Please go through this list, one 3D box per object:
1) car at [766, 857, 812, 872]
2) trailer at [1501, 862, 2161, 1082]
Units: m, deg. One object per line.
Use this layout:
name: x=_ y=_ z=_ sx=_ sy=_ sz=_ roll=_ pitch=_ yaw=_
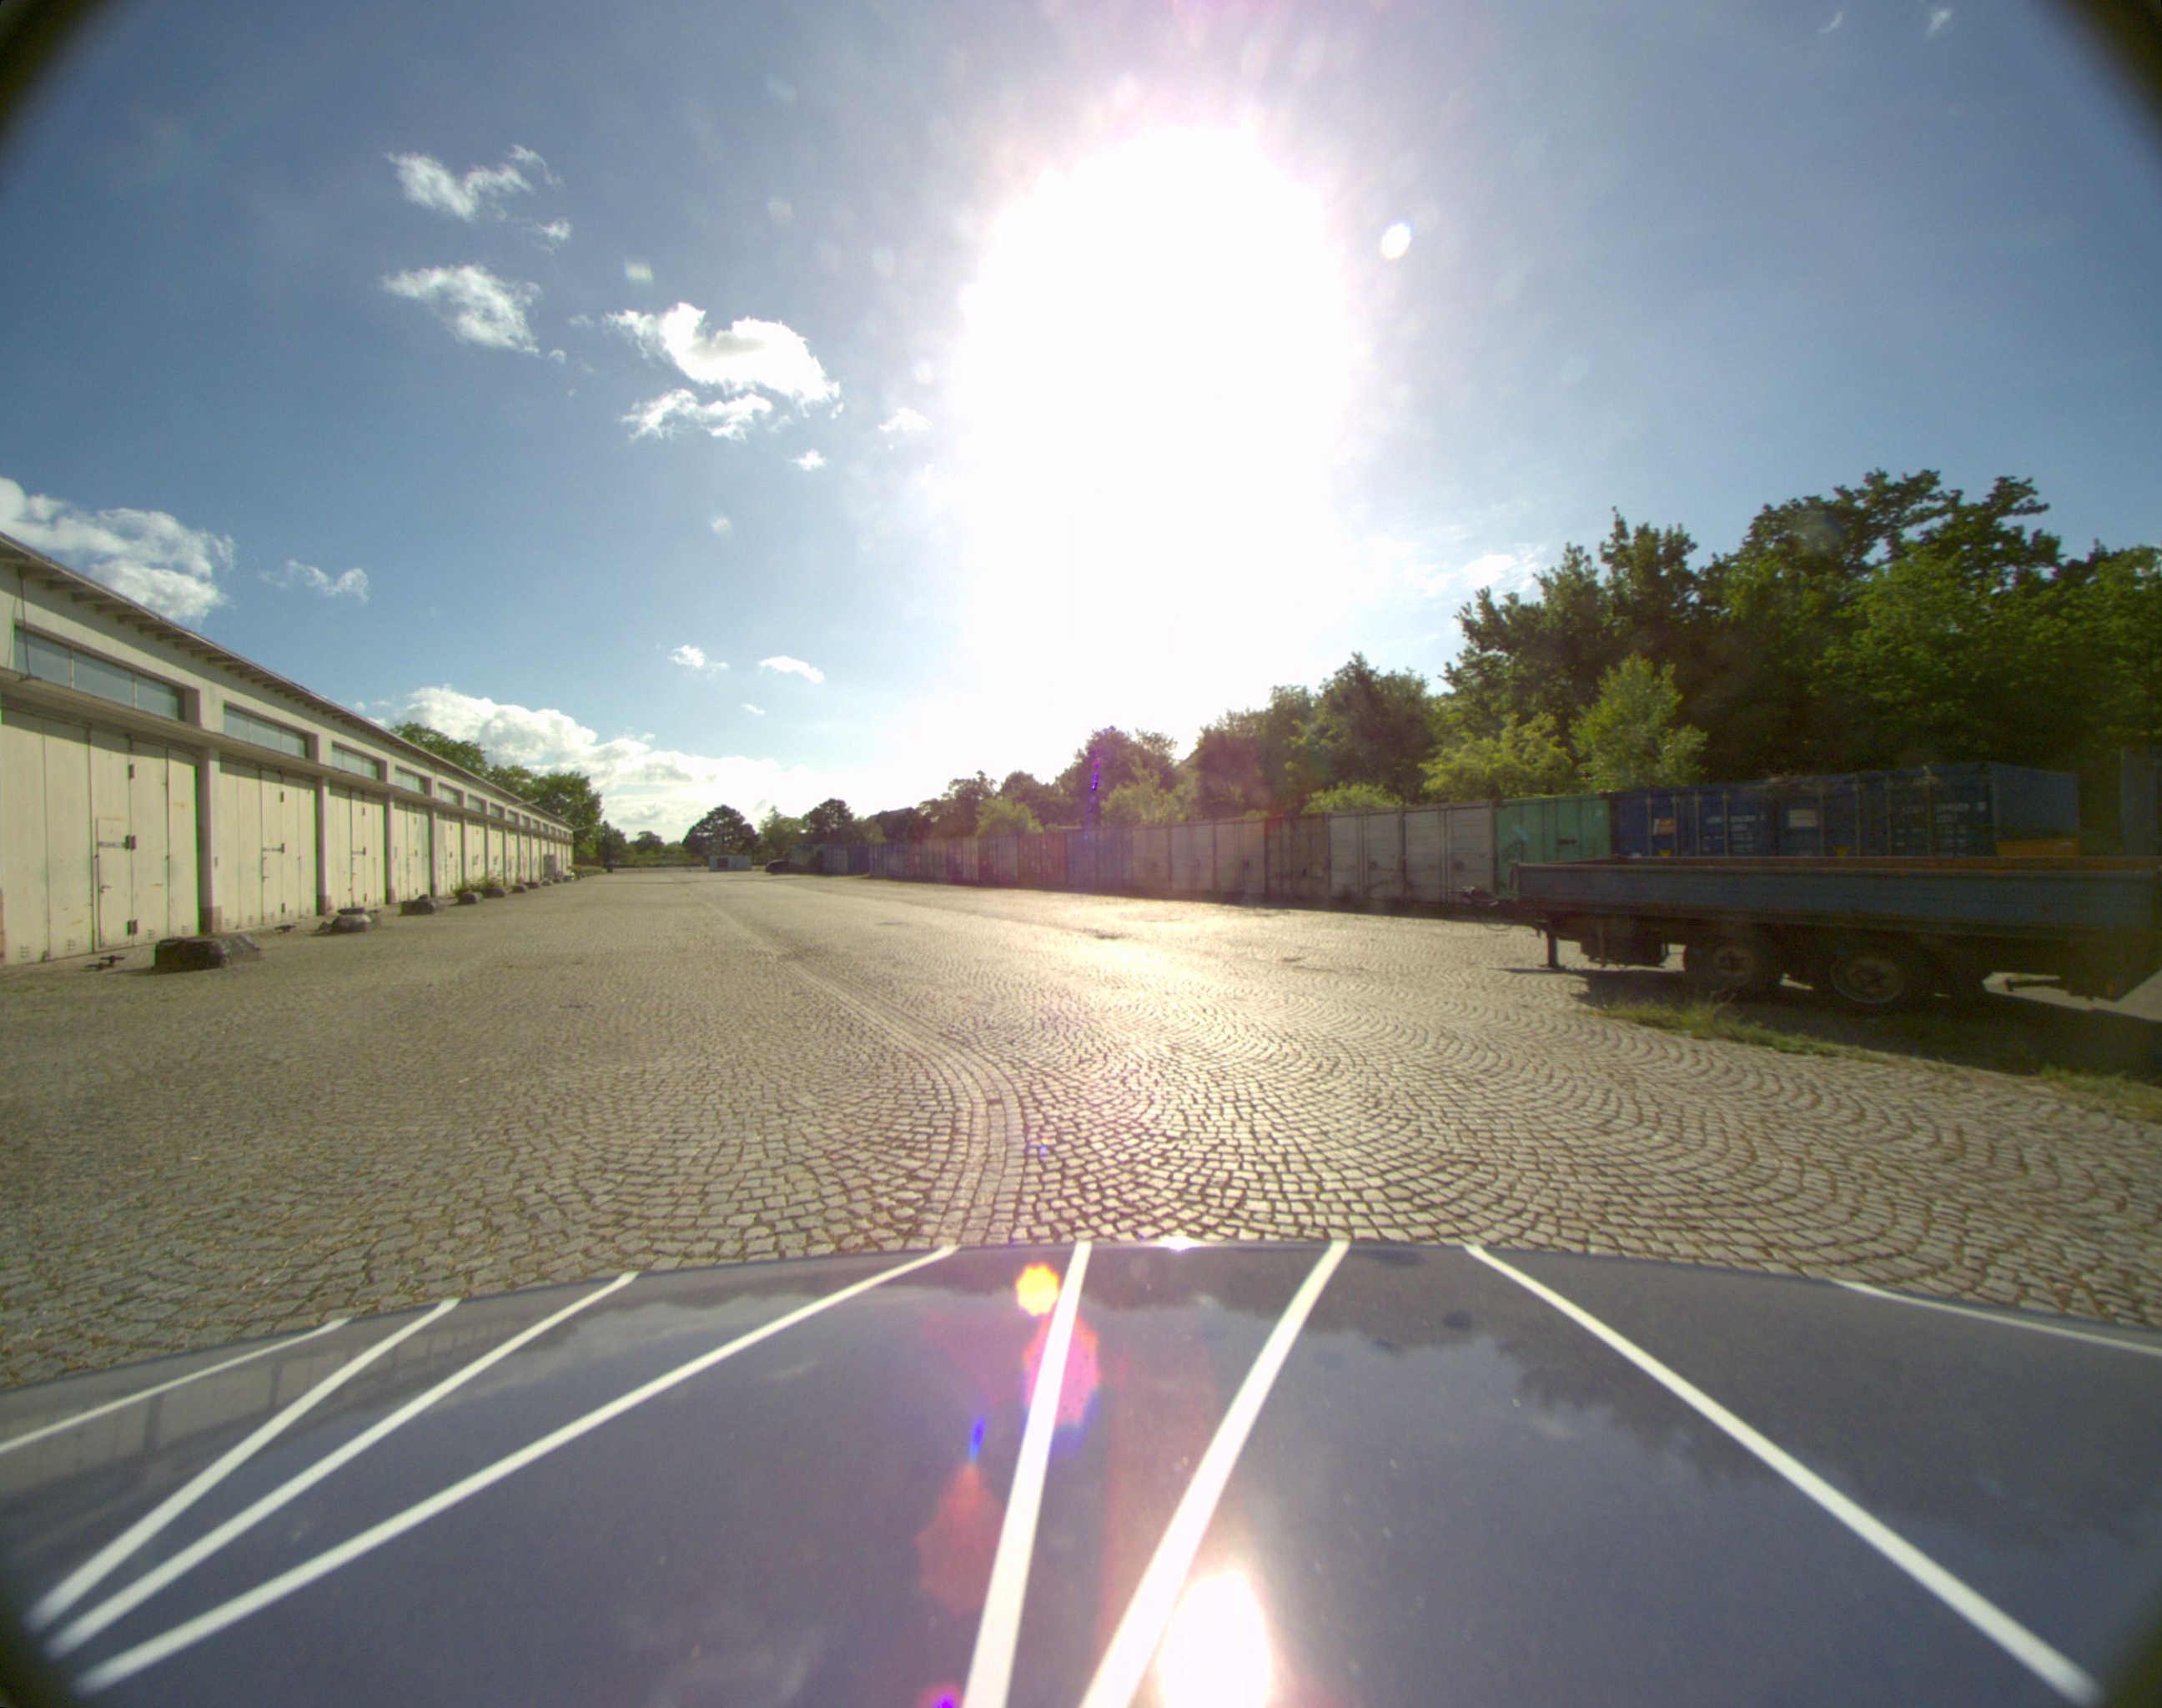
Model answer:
car: x=-30.318 y=1.087 z=78.984 sx=4.121 sy=1.289 sz=1.995 roll=-3 pitch=2 yaw=-32
trailer: x=7.533 y=0.848 z=7.912 sx=2.653 sy=1.406 sz=4.850 roll=-2 pitch=1 yaw=-30
